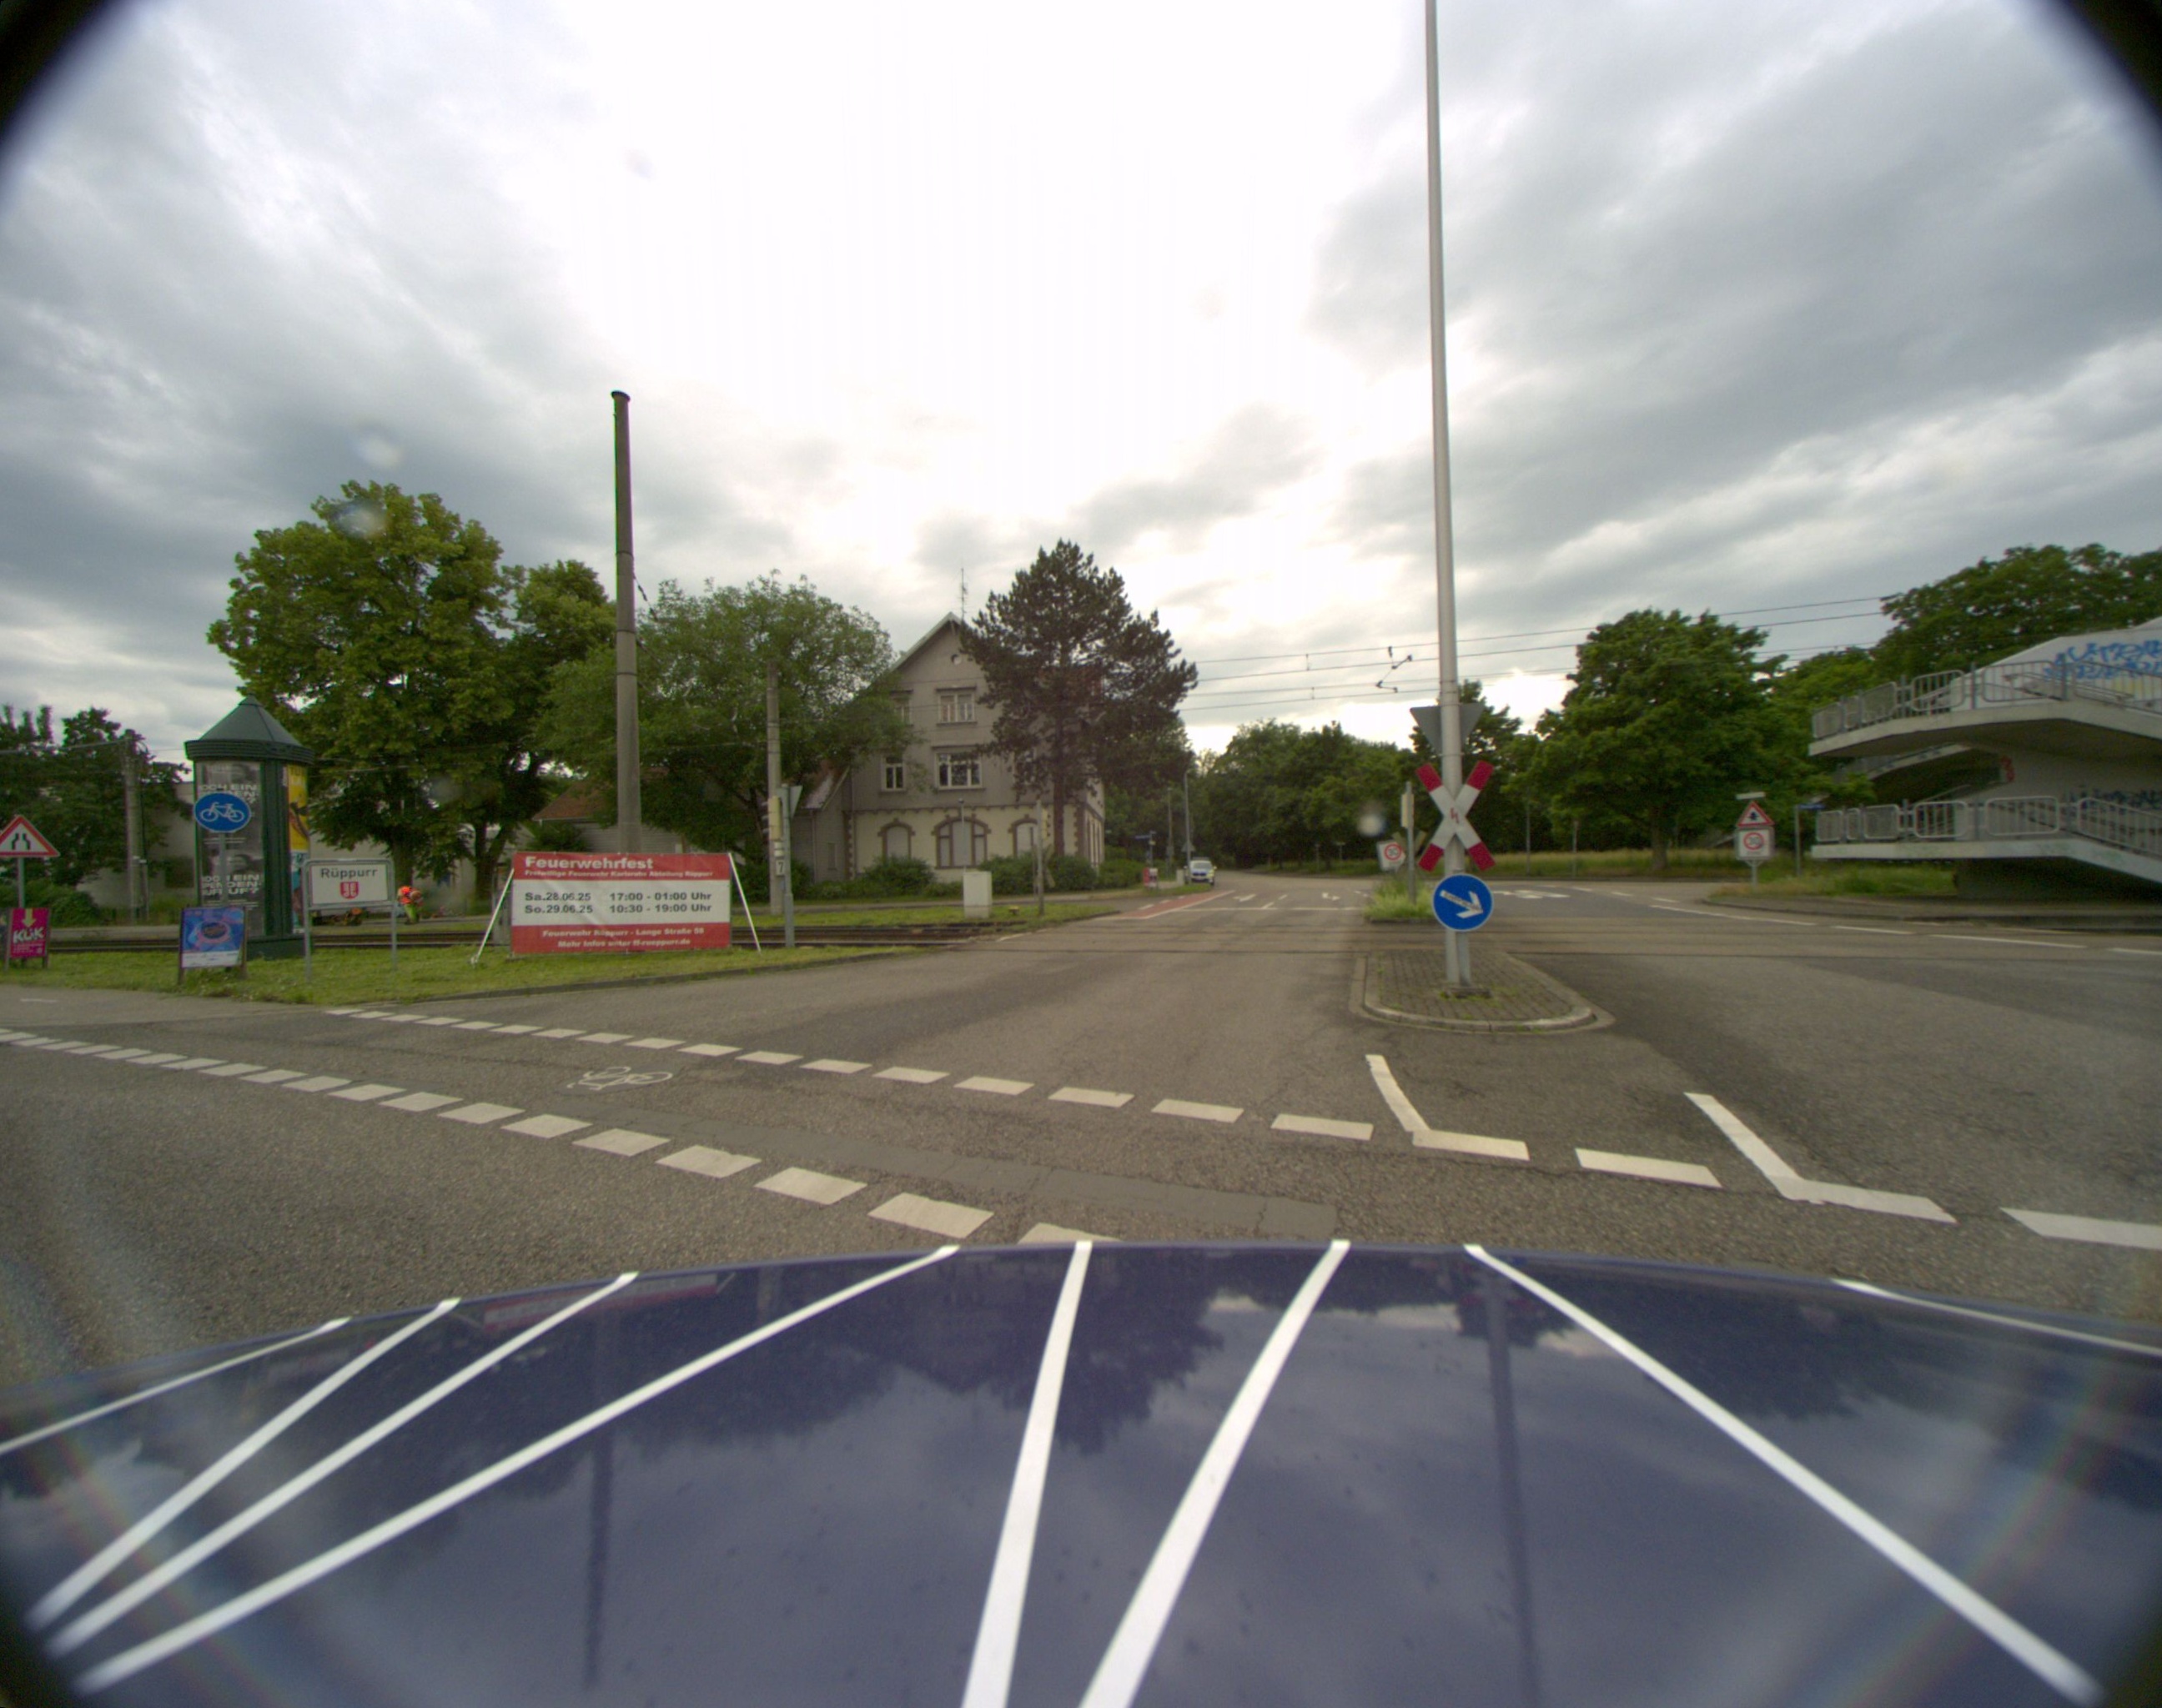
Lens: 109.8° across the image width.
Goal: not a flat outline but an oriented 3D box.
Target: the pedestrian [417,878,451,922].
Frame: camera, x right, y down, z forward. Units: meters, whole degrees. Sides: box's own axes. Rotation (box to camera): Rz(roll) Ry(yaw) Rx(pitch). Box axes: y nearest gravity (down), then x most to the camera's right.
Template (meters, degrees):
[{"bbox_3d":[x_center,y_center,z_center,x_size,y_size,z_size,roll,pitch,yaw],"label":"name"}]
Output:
[{"bbox_3d":[-27.773,1.970,32.618,0.678,1.843,0.875,-2,0,21],"label":"pedestrian"}]

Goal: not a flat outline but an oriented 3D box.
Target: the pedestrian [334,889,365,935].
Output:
[{"bbox_3d":[-30.203,2.386,31.379,0.713,1.829,0.608,-2,0,-26],"label":"pedestrian"}]

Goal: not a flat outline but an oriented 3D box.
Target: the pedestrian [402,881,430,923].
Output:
[{"bbox_3d":[-28.646,2.063,32.717,0.575,1.752,0.636,-2,0,-1],"label":"pedestrian"}]

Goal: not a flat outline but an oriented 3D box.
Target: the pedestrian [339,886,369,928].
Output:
[{"bbox_3d":[-30.814,2.233,32.223,0.575,1.752,0.636,-2,0,-1],"label":"pedestrian"}]

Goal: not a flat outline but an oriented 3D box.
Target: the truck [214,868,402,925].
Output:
[{"bbox_3d":[-34.511,1.884,34.003,6.402,2.280,2.607,-2,0,9],"label":"truck"}]

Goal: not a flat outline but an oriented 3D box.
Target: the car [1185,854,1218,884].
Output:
[{"bbox_3d":[7.747,0.960,49.051,1.934,1.839,4.002,0,0,7],"label":"car"}]
